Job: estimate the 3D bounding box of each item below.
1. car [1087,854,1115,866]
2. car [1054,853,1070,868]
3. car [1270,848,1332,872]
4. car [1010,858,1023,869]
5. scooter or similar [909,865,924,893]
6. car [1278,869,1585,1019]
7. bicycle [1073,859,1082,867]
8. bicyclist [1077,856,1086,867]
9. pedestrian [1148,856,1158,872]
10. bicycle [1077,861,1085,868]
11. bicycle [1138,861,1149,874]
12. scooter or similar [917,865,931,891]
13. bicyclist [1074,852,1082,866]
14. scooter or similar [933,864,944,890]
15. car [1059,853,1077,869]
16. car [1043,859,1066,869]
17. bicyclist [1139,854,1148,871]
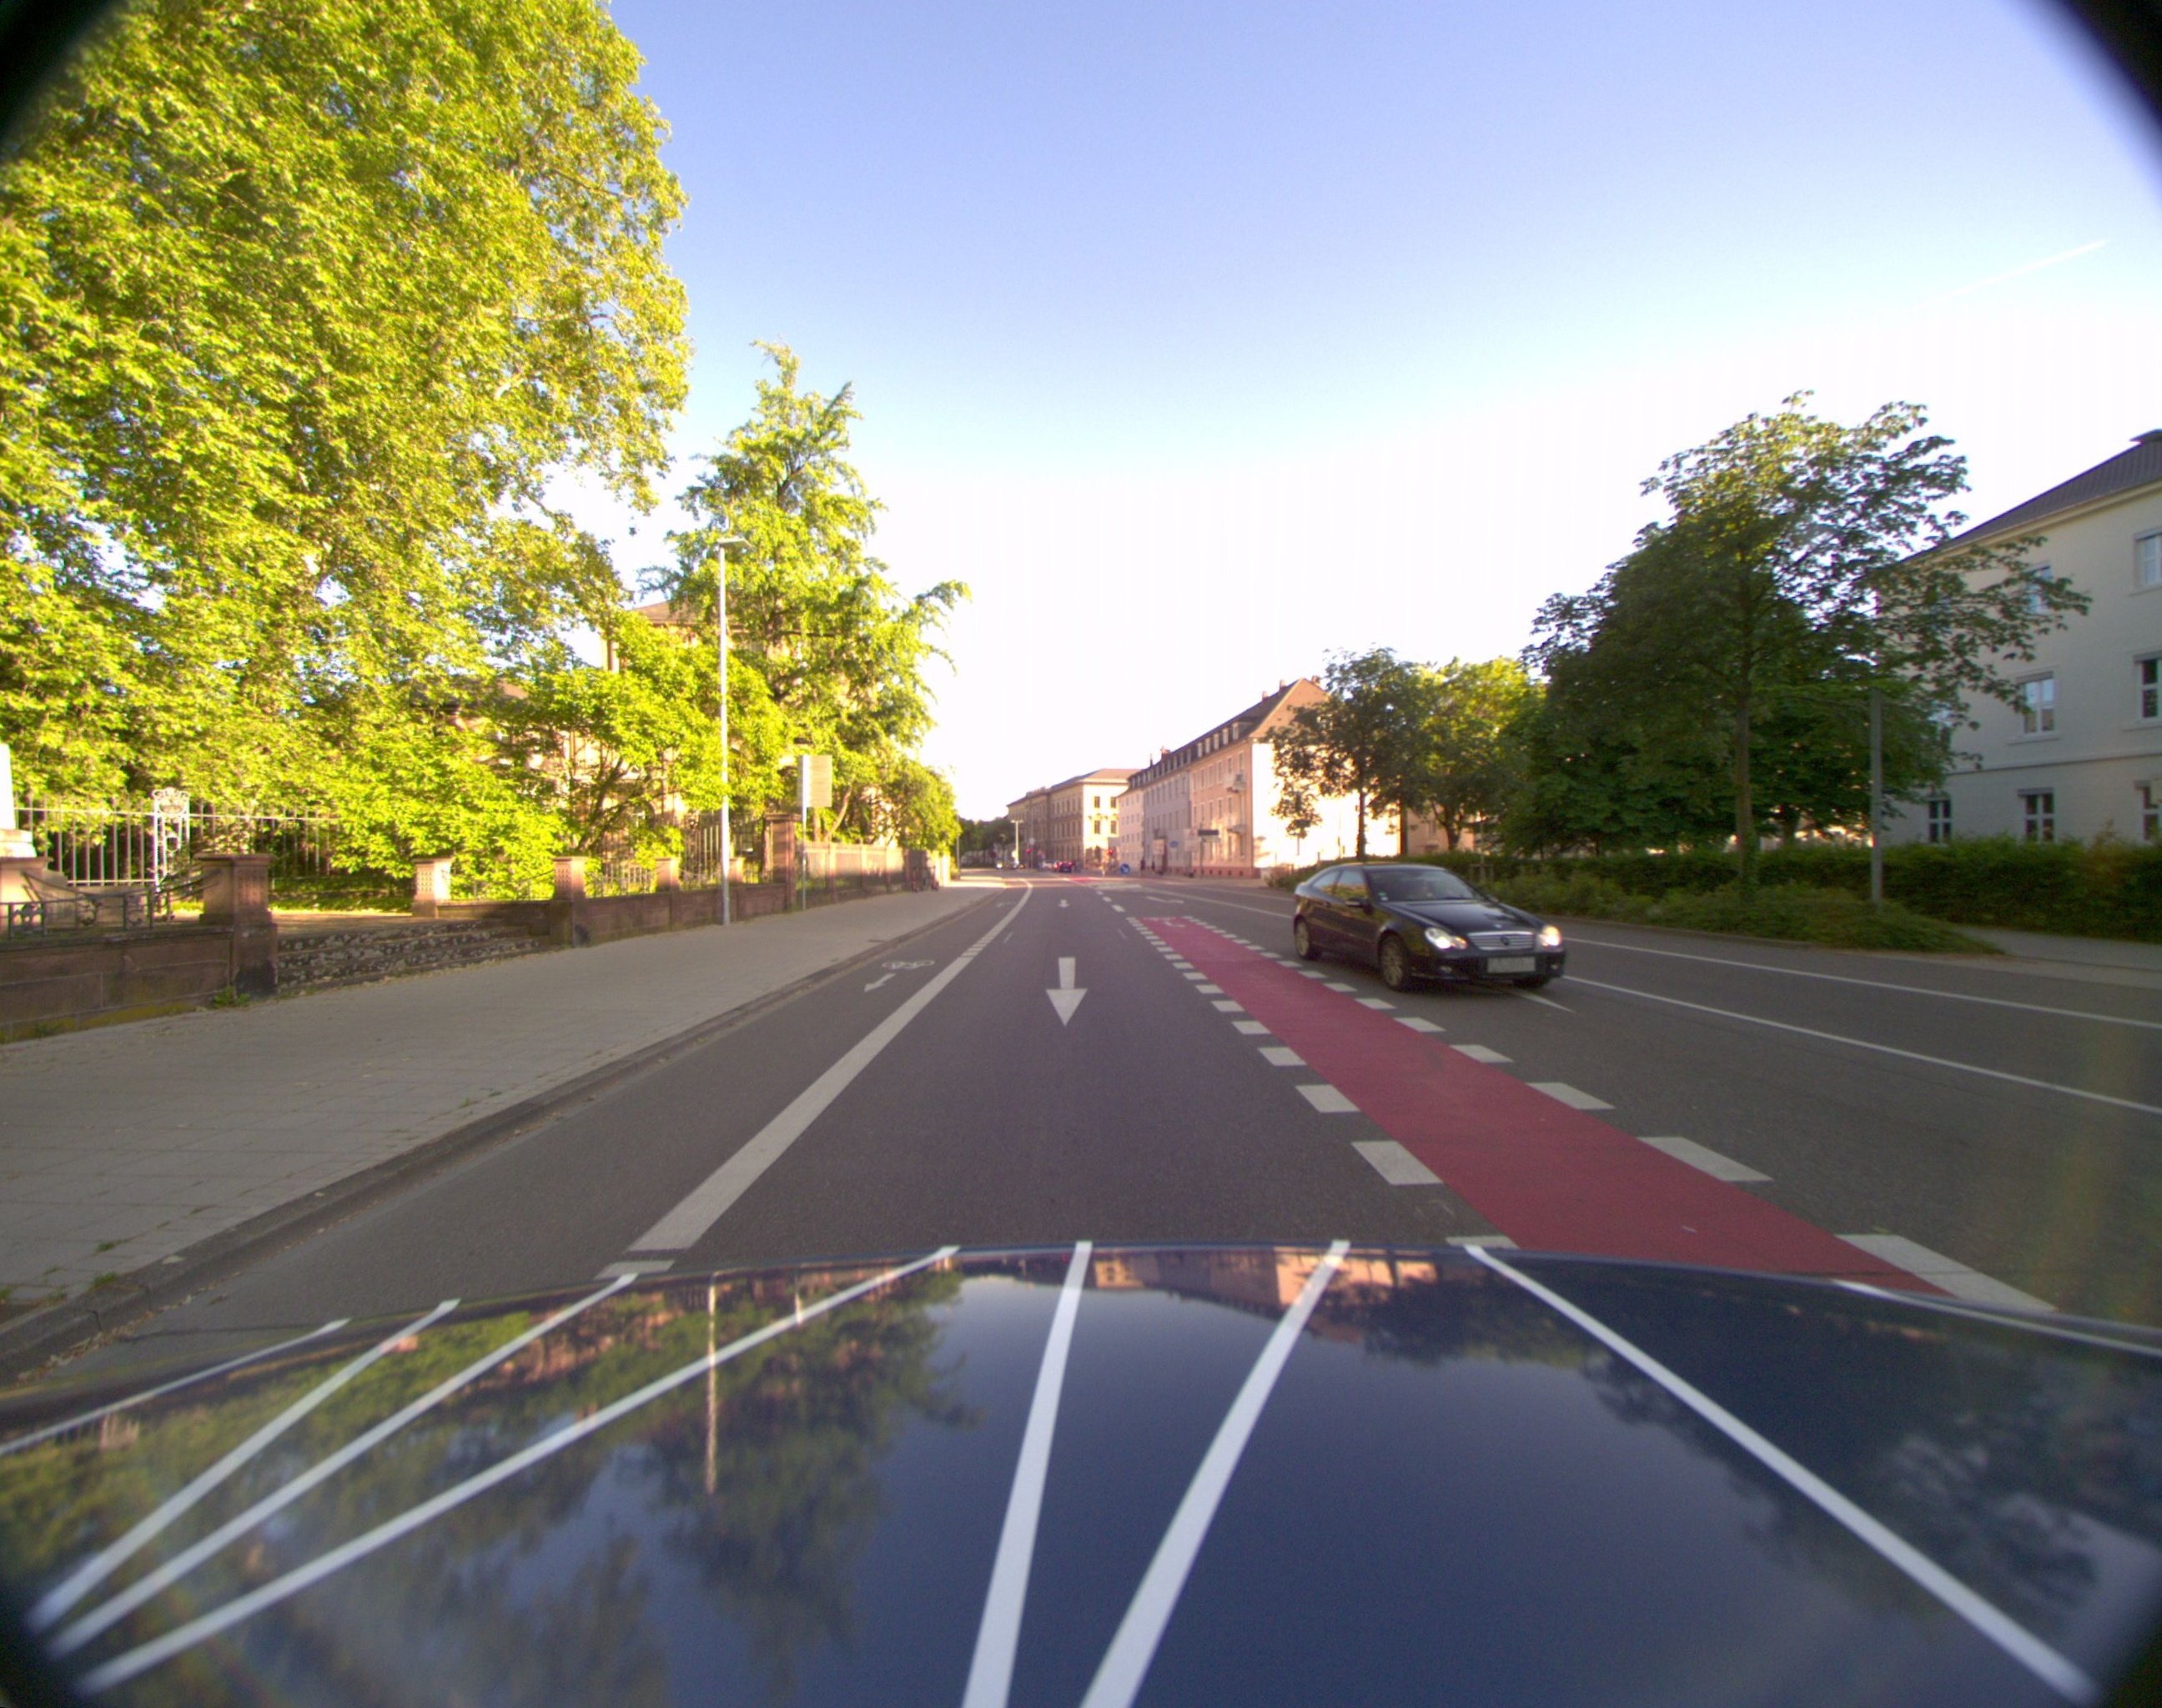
[{"bbox_3d":[3.346,1.032,127.771,4.513,2.093,2.000,0,0,-1],"label":"car"},{"bbox_3d":[-2.558,0.881,101.925,1.999,2.002,3.998,0,0,-5],"label":"car"},{"bbox_3d":[16.598,0.425,57.371,4.000,1.652,1.998,-2,1,-9],"label":"car"},{"bbox_3d":[-11.183,1.656,131.387,1.867,1.871,4.000,-2,1,1],"label":"car"},{"bbox_3d":[-7.557,1.133,34.855,0.577,1.246,1.486,0,0,-15],"label":"scooter or similar"},{"bbox_3d":[4.042,0.929,9.663,1.709,1.397,4.263,0,0,-4],"label":"car"},{"bbox_3d":[-0.544,1.292,109.281,0.956,1.216,2.776,0,0,-9],"label":"bicycle"},{"bbox_3d":[0.070,0.983,104.017,1.026,1.481,0.870,0,0,-9],"label":"bicyclist"},{"bbox_3d":[8.819,1.193,92.684,0.949,1.894,1.062,-2,1,-7],"label":"pedestrian"},{"bbox_3d":[0.048,1.419,104.184,0.663,0.907,2.861,0,0,-9],"label":"bicycle"},{"bbox_3d":[5.629,1.235,68.865,0.697,1.152,2.245,1,0,-3],"label":"bicycle"},{"bbox_3d":[-7.571,1.148,36.708,0.576,1.177,1.487,0,0,-7],"label":"scooter or similar"},{"bbox_3d":[-0.500,0.651,109.154,0.956,2.002,1.307,0,0,-9],"label":"bicyclist"},{"bbox_3d":[-7.097,1.138,37.790,0.517,1.233,1.521,0,0,-11],"label":"scooter or similar"},{"bbox_3d":[-1.662,0.856,96.410,1.999,2.002,3.998,0,0,-5],"label":"car"},{"bbox_3d":[-4.451,1.710,128.189,3.701,1.478,1.637,-2,1,-4],"label":"car"},{"bbox_3d":[5.643,0.780,68.707,0.691,1.553,0.838,1,0,-3],"label":"bicyclist"}]
